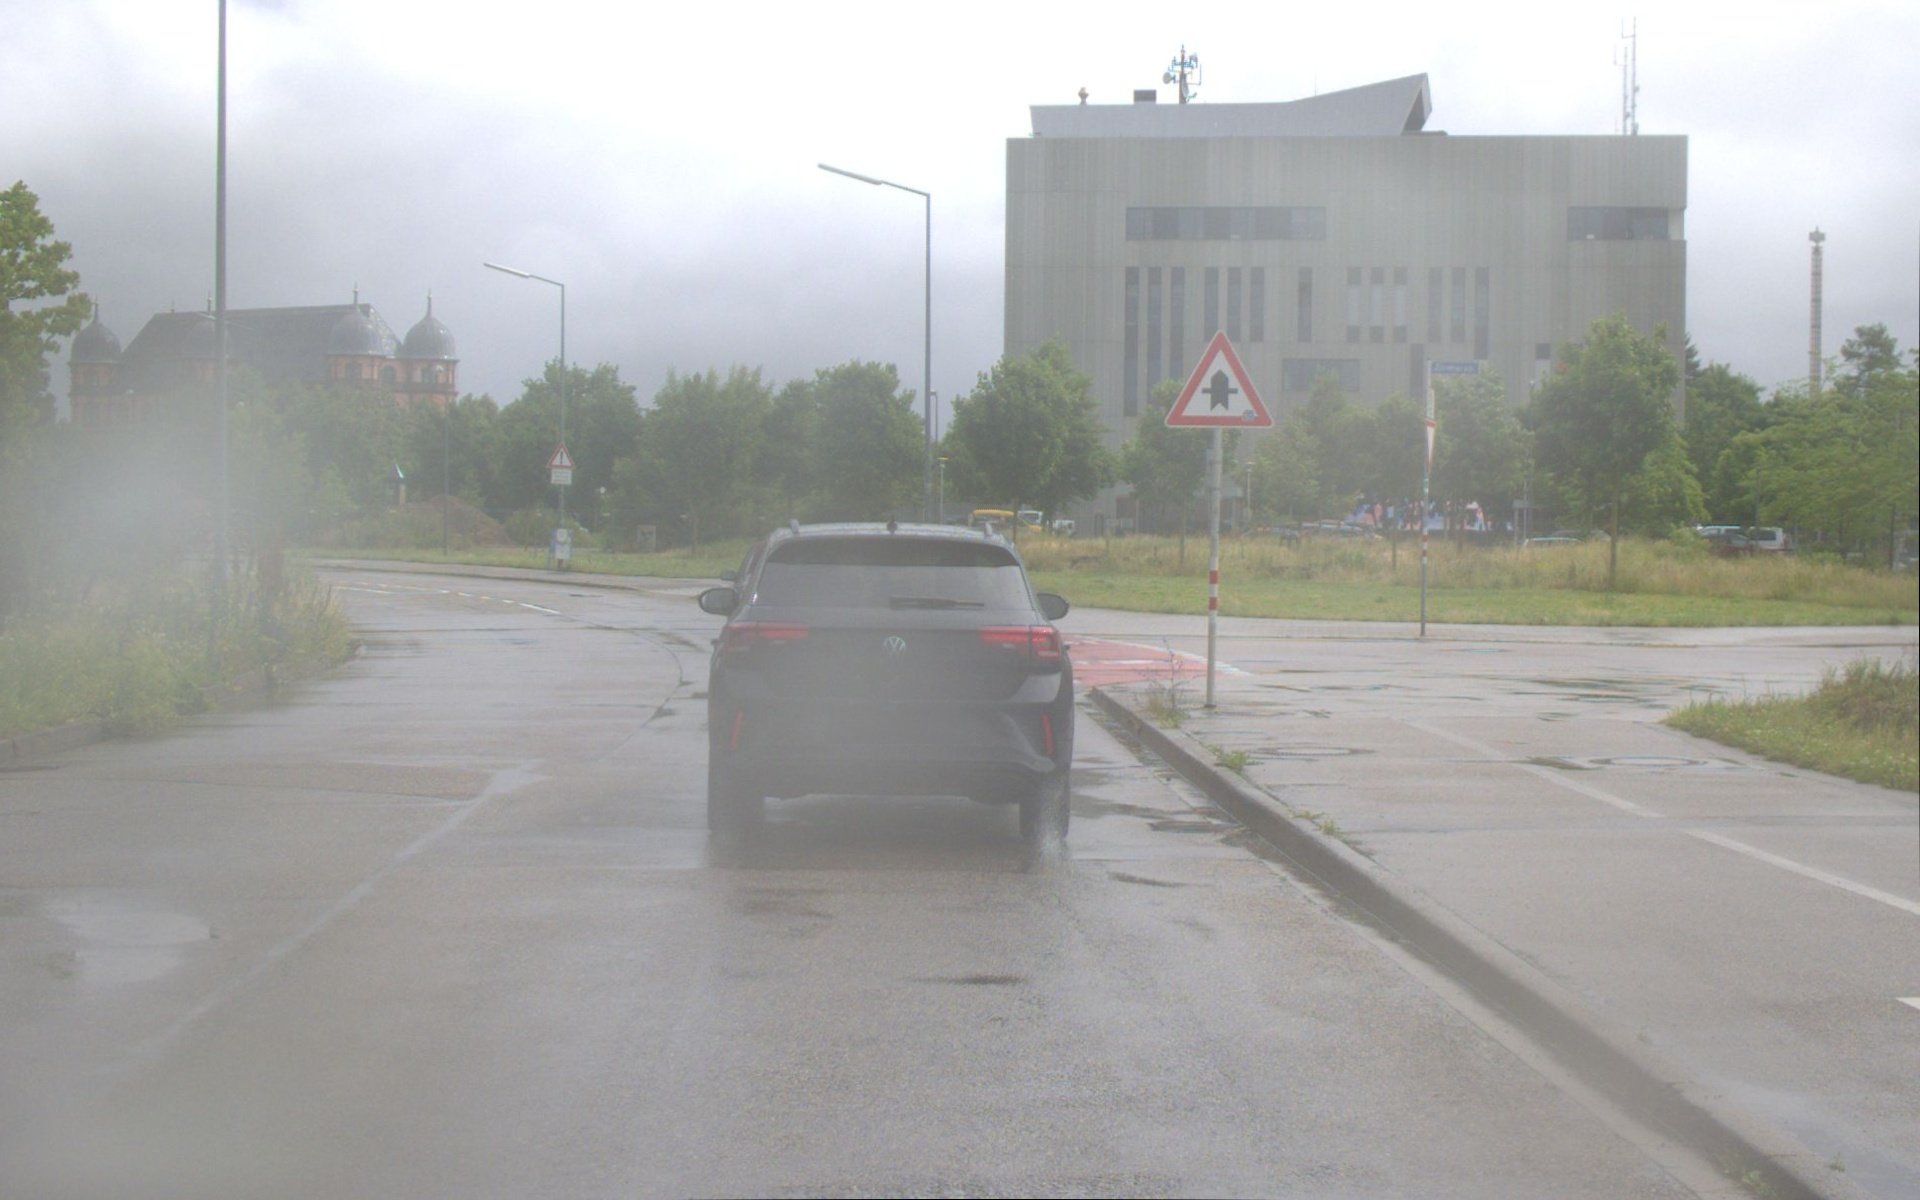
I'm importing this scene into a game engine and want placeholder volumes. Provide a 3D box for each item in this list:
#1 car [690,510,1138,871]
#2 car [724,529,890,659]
[{"bbox_3d":[-0.347,0.364,17.845,1.986,1.515,4.001,-3,2,-4],"label":"car"},{"bbox_3d":[-1.923,-0.112,42.272,1.841,1.437,4.001,-2,2,-5],"label":"car"}]
